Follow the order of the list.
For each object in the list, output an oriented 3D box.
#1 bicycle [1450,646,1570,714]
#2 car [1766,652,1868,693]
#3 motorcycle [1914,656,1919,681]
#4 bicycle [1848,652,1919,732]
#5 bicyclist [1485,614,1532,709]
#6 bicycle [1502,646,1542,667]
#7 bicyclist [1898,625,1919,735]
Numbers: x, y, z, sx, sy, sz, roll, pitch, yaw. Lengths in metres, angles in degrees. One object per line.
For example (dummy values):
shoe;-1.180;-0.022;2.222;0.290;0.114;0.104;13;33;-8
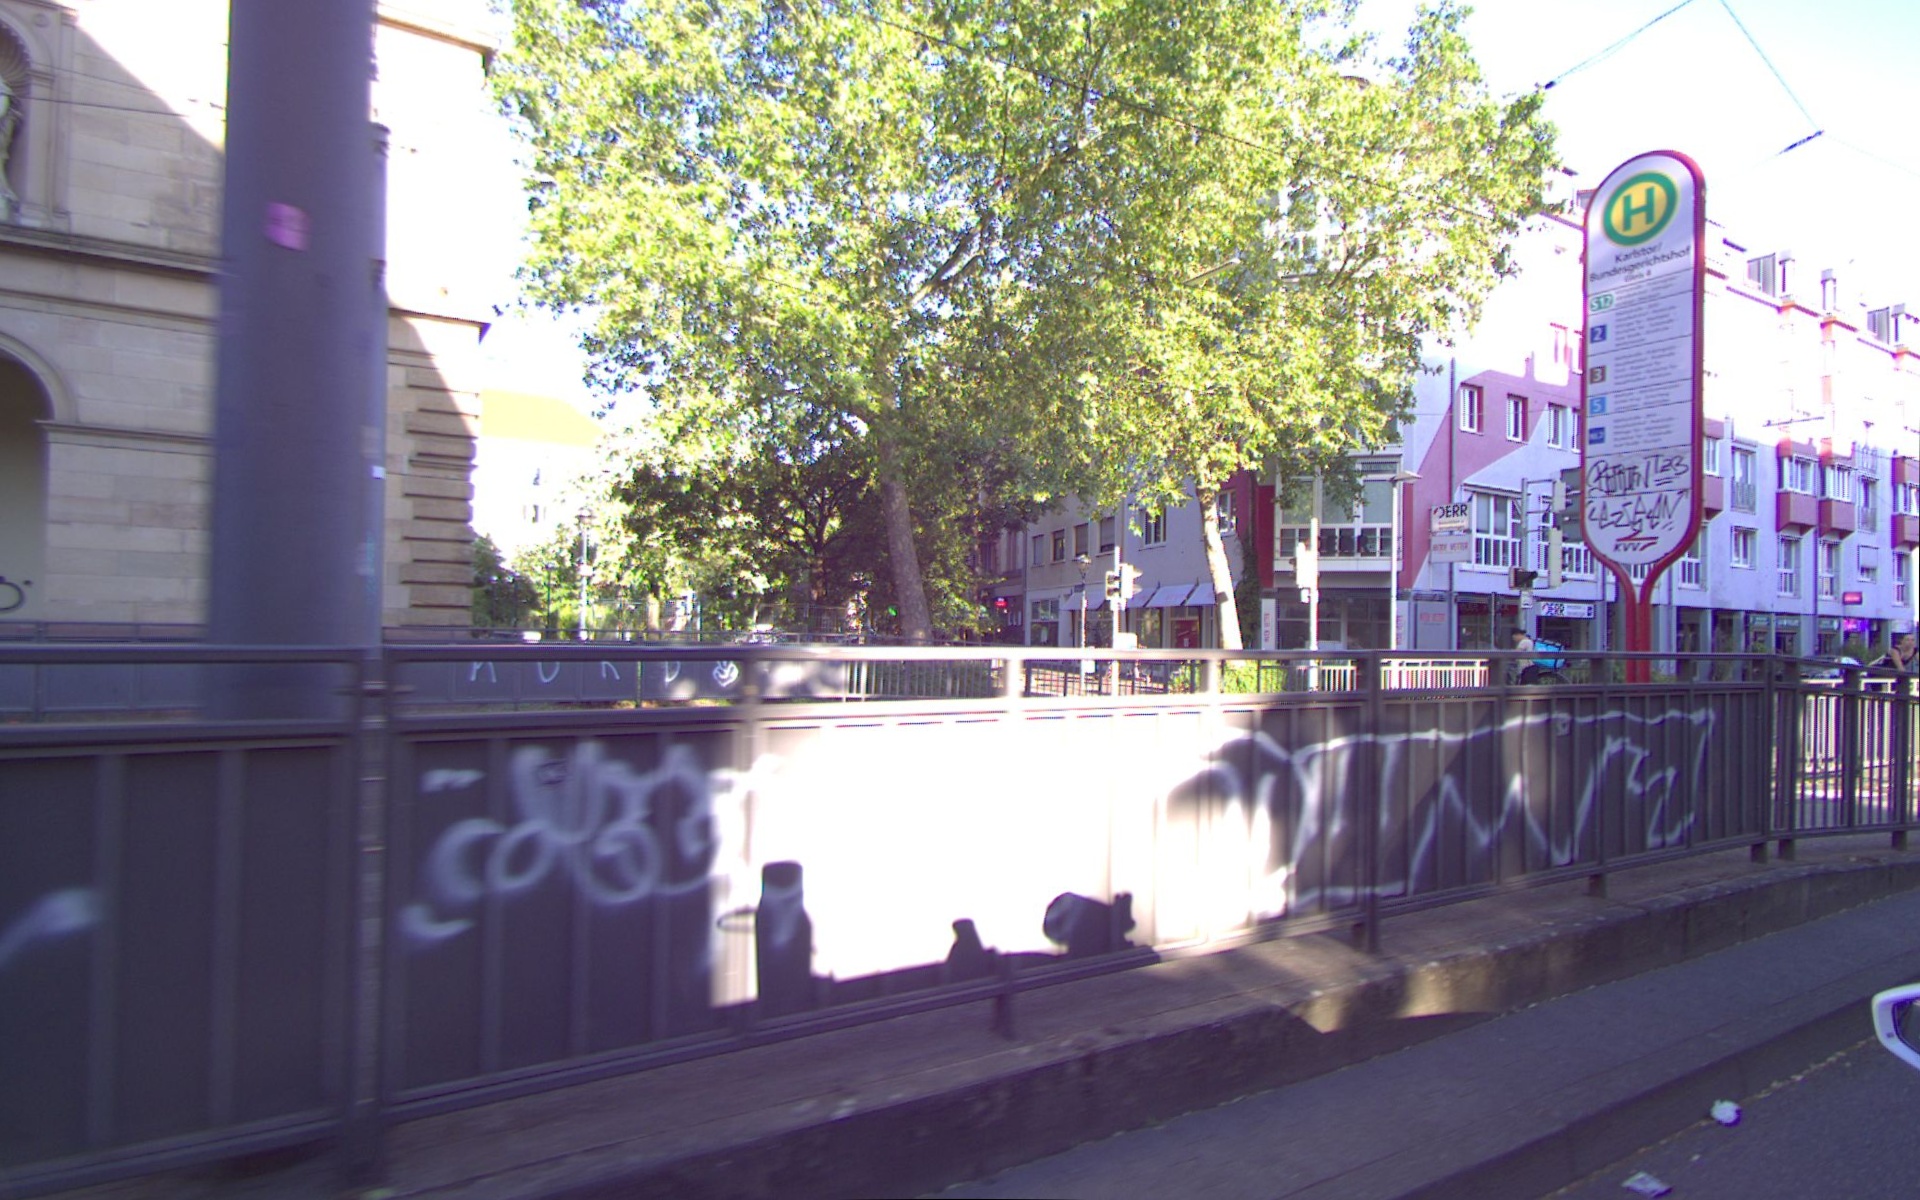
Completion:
bicycle;10.364;1.482;18.968;1.870;1.092;0.582;3;1;39
car;34.308;2.862;40.192;4.657;1.458;1.858;2;-1;-33
motorcycle;48.229;3.416;50.266;0.662;1.221;2.129;2;-1;43
bicycle;14.206;1.382;14.731;0.573;1.092;1.899;2;1;-2
bicyclist;10.377;1.147;19.005;0.733;1.734;0.532;0;-1;34
bicycle;18.784;1.896;33.558;1.793;0.667;0.452;2;1;-36
bicyclist;14.221;1.169;14.578;0.523;1.599;0.746;1;-1;1
